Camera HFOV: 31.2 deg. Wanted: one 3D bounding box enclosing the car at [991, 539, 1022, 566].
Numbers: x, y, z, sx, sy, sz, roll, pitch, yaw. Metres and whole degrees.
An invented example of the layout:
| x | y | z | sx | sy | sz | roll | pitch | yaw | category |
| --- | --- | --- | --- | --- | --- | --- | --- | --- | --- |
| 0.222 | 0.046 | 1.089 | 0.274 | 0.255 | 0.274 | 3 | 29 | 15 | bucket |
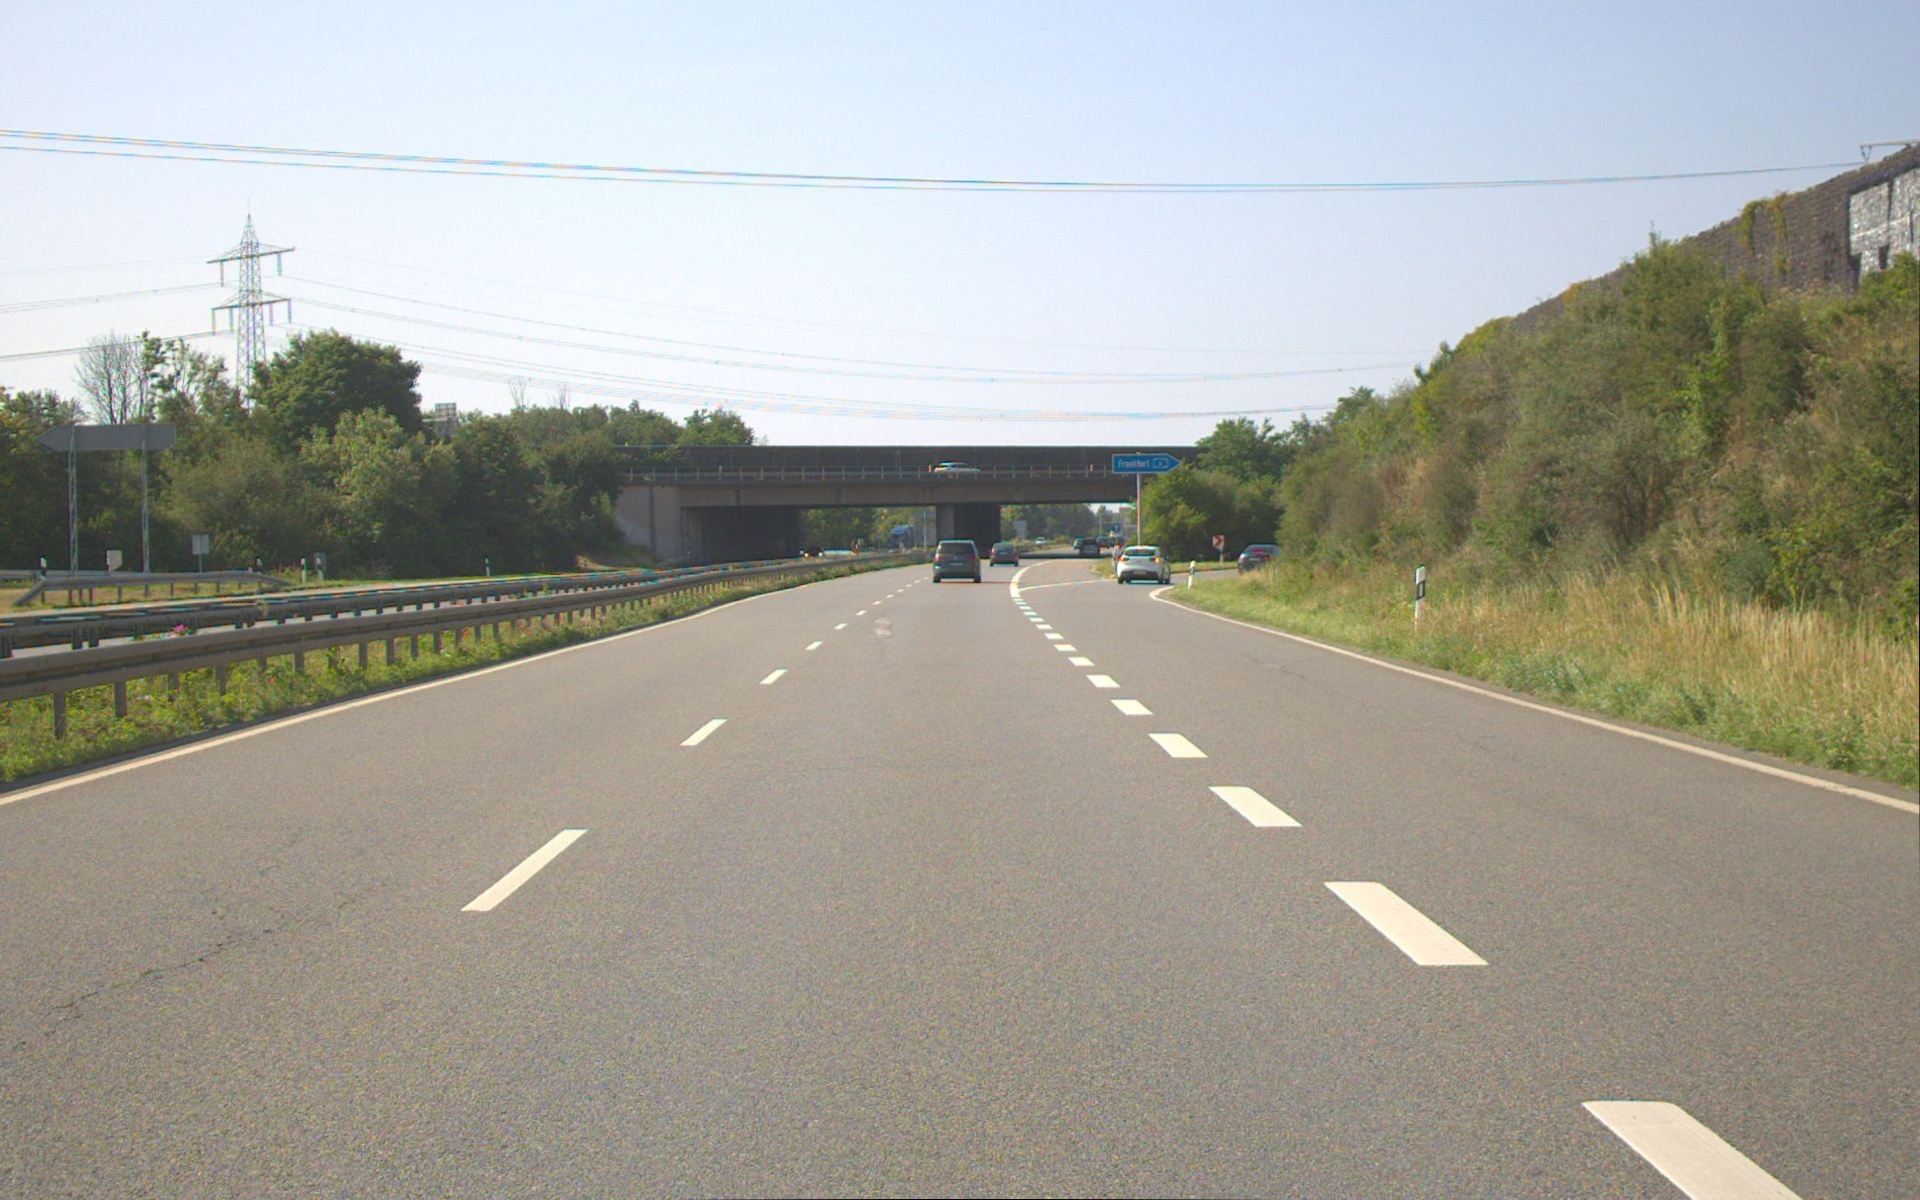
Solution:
| x | y | z | sx | sy | sz | roll | pitch | yaw | category |
| --- | --- | --- | --- | --- | --- | --- | --- | --- | --- |
| 2.926 | -2.958 | 214.720 | 1.850 | 1.639 | 4.000 | 0 | 1 | 2 | car |

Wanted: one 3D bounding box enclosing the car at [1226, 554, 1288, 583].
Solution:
| x | y | z | sx | sy | sz | roll | pitch | yaw | category |
| --- | --- | --- | --- | --- | --- | --- | --- | --- | --- |
| 13.969 | -1.480 | 161.406 | 1.904 | 1.293 | 3.996 | 3 | 1 | 20 | car |

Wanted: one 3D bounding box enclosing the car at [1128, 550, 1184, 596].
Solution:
| x | y | z | sx | sy | sz | roll | pitch | yaw | category |
| --- | --- | --- | --- | --- | --- | --- | --- | --- | --- |
| 7.522 | -1.053 | 131.432 | 1.797 | 1.659 | 3.999 | 3 | 1 | 7 | car |

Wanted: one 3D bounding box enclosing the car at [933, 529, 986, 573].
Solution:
| x | y | z | sx | sy | sz | roll | pitch | yaw | category |
| --- | --- | --- | --- | --- | --- | --- | --- | --- | --- |
| 0.003 | -1.872 | 131.910 | 1.850 | 1.639 | 4.000 | 0 | 1 | 2 | car |
